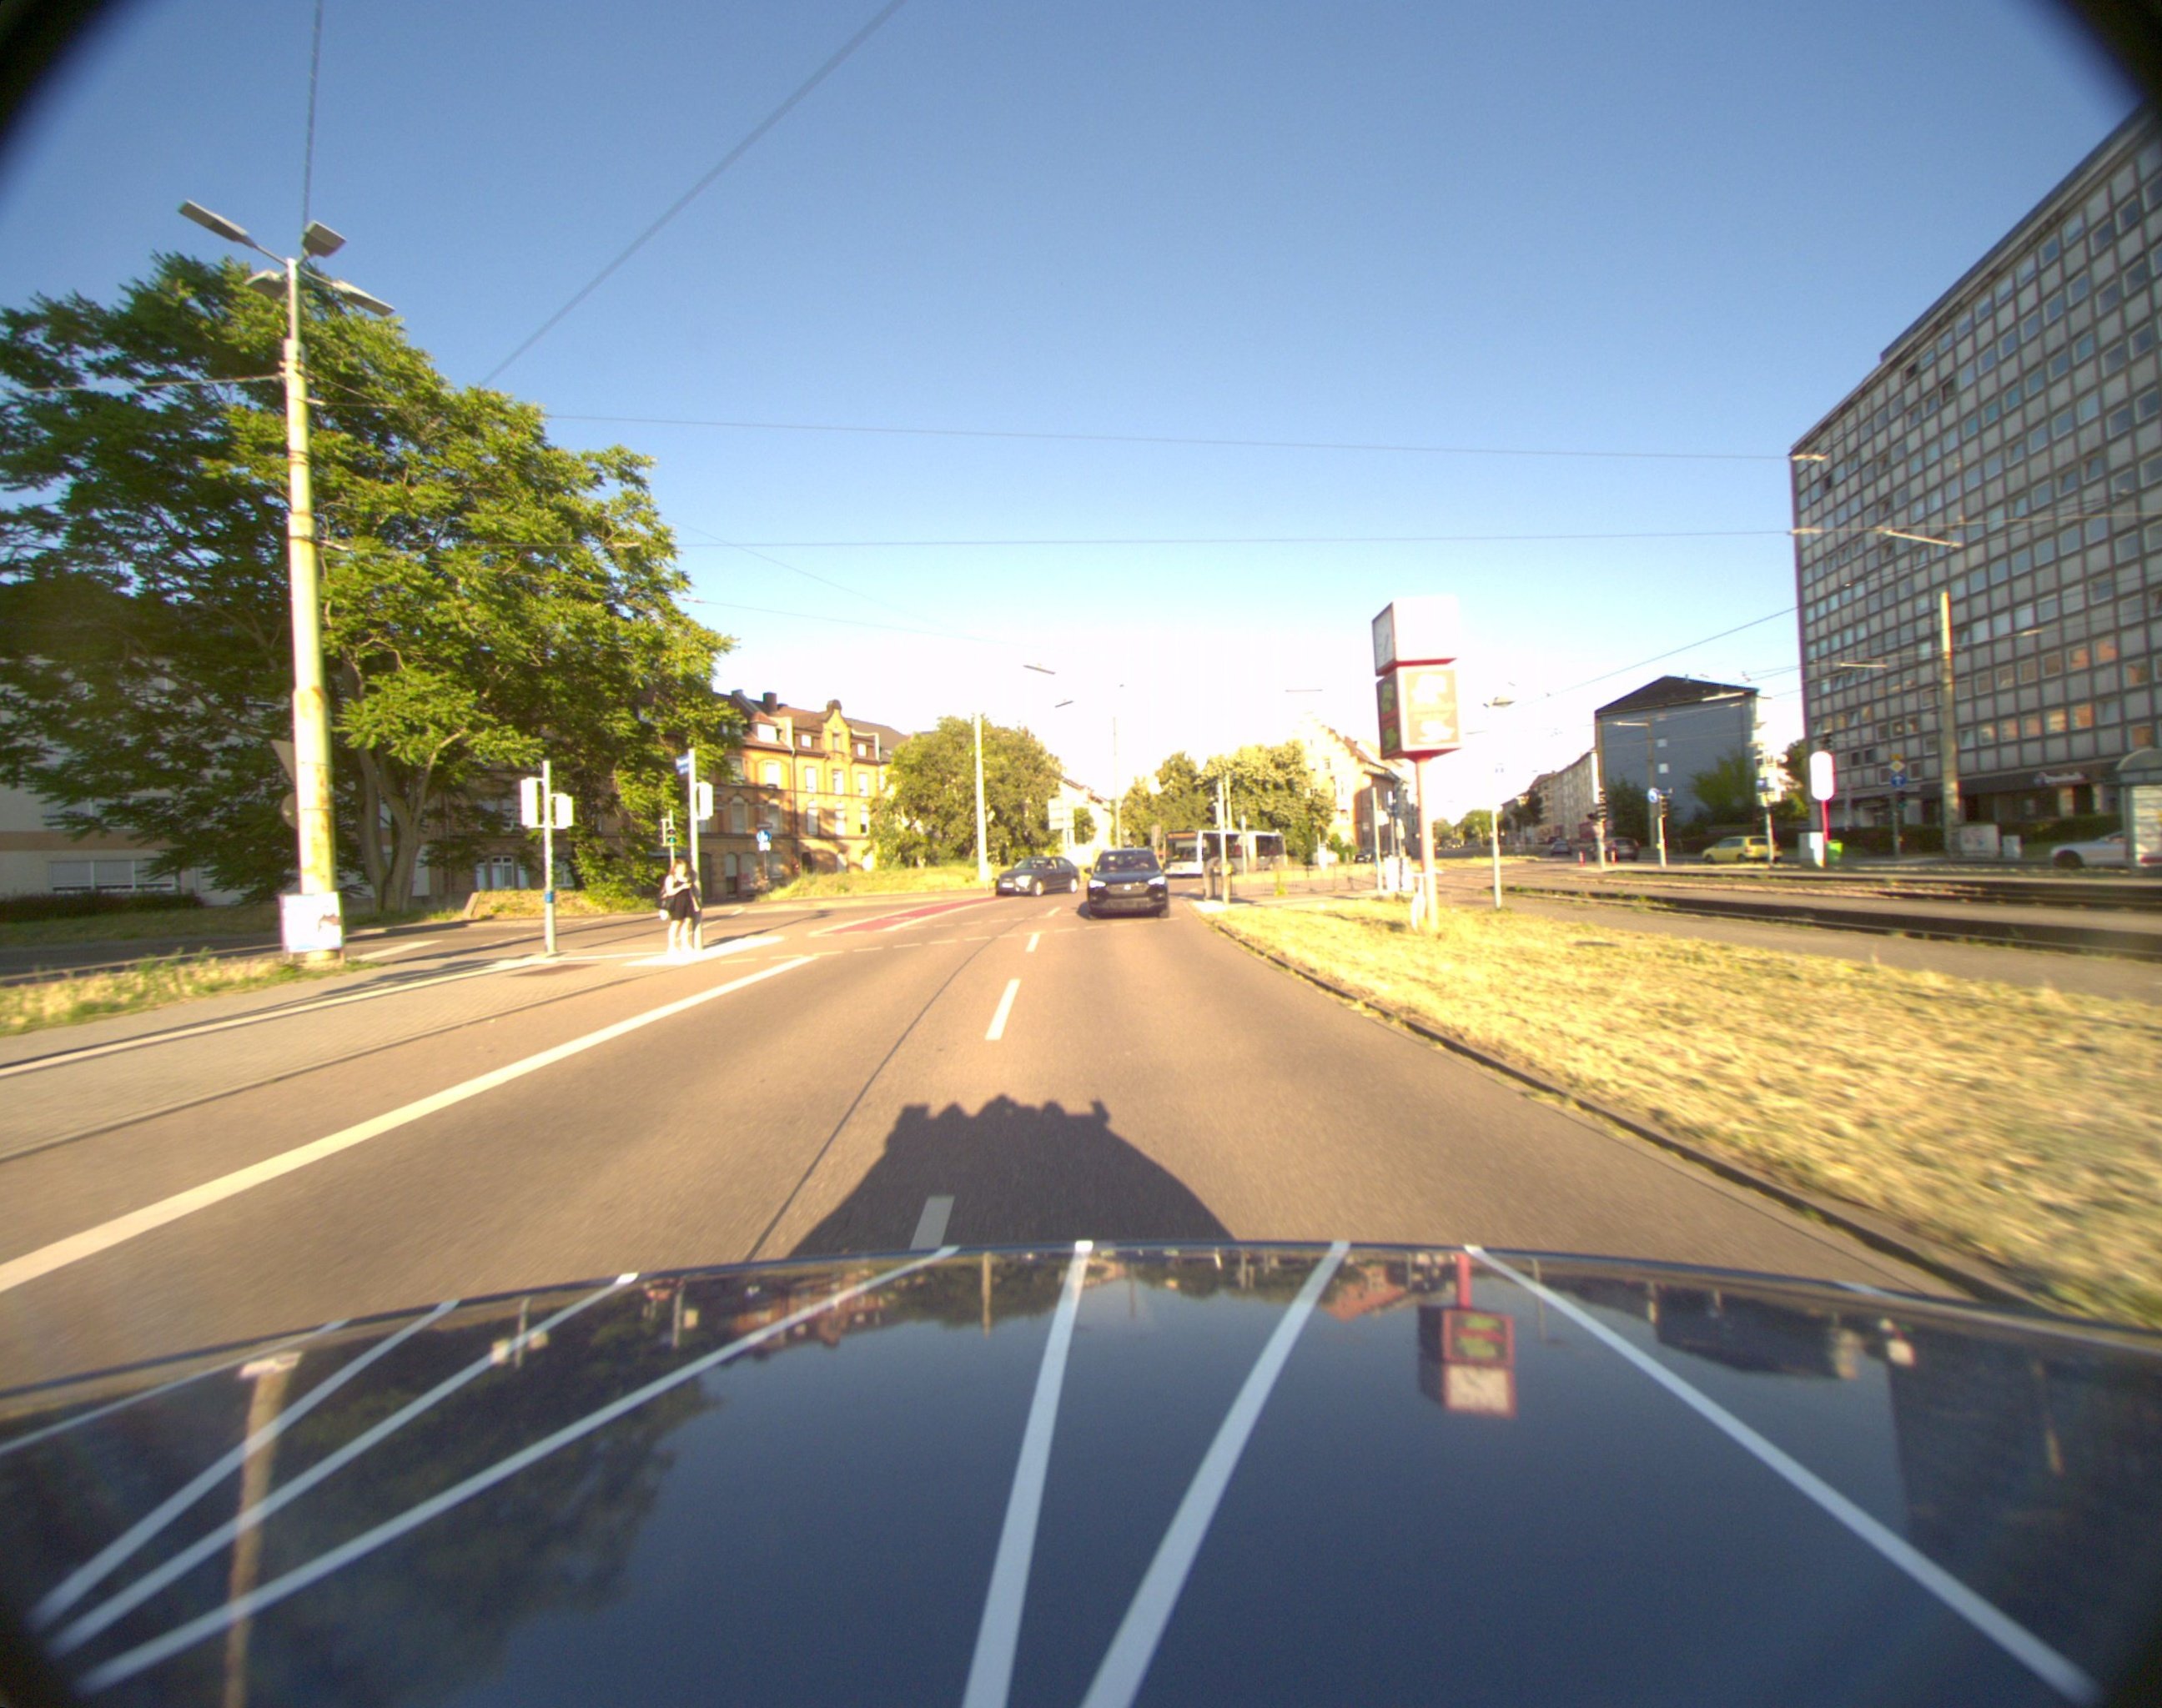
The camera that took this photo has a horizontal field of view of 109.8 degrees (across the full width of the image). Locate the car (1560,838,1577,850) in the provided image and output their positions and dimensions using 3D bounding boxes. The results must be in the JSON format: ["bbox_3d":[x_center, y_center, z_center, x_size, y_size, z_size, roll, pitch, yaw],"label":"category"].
[{"bbox_3d":[64.145,-1.328,100.076,1.777,1.473,4.407,-1,1,32],"label":"car"}]

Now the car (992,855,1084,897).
[{"bbox_3d":[-1.684,0.855,31.168,1.767,1.578,4.076,-1,0,31],"label":"car"}]

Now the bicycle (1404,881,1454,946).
[{"bbox_3d":[5.677,0.931,12.352,0.553,0.912,1.746,0,1,30],"label":"bicycle"}]

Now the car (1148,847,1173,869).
[{"bbox_3d":[8.340,0.413,80.423,2.042,2.201,5.416,-2,0,1],"label":"car"}]

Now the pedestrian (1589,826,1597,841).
[{"bbox_3d":[62.072,-2.489,92.111,0.593,1.762,0.887,-8,-3,32],"label":"pedestrian"}]

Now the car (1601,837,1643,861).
[{"bbox_3d":[37.383,-0.375,52.605,1.581,1.586,4.159,-2,0,25],"label":"car"}]

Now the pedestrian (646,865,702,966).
[{"bbox_3d":[-6.709,0.997,12.541,0.436,1.603,0.631,-2,1,38],"label":"pedestrian"}]

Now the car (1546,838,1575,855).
[{"bbox_3d":[49.497,-0.773,78.563,1.653,1.586,4.593,-3,0,22],"label":"car"}]

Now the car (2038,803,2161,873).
[{"bbox_3d":[32.220,-0.498,22.729,1.998,2.002,4.161,-2,0,3],"label":"car"}]

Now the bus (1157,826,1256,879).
[{"bbox_3d":[8.575,-0.116,50.396,2.726,3.059,10.620,-2,0,30],"label":"bus"}]

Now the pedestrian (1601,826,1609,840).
[{"bbox_3d":[63.705,-2.560,92.350,0.617,1.684,0.707,-8,-3,32],"label":"pedestrian"}]

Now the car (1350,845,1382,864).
[{"bbox_3d":[28.531,0.011,76.018,1.994,1.761,4.008,-2,0,35],"label":"car"}]

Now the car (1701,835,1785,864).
[{"bbox_3d":[33.473,-0.215,38.550,1.548,1.332,3.596,-3,0,10],"label":"car"}]

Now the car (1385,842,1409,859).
[{"bbox_3d":[37.840,-0.459,91.065,1.888,1.871,4.008,-2,0,34],"label":"car"}]

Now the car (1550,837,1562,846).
[{"bbox_3d":[92.032,-2.476,147.142,1.919,1.652,4.718,-2,0,31],"label":"car"}]

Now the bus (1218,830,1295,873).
[{"bbox_3d":[13.953,-0.229,59.632,2.707,3.059,10.620,-2,0,30],"label":"bus"}]

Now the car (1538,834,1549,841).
[{"bbox_3d":[99.473,-3.625,163.460,1.698,1.451,4.323,-1,1,28],"label":"car"}]

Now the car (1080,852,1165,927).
[{"bbox_3d":[1.134,0.779,18.678,1.787,1.614,4.218,-1,0,7],"label":"car"}]
